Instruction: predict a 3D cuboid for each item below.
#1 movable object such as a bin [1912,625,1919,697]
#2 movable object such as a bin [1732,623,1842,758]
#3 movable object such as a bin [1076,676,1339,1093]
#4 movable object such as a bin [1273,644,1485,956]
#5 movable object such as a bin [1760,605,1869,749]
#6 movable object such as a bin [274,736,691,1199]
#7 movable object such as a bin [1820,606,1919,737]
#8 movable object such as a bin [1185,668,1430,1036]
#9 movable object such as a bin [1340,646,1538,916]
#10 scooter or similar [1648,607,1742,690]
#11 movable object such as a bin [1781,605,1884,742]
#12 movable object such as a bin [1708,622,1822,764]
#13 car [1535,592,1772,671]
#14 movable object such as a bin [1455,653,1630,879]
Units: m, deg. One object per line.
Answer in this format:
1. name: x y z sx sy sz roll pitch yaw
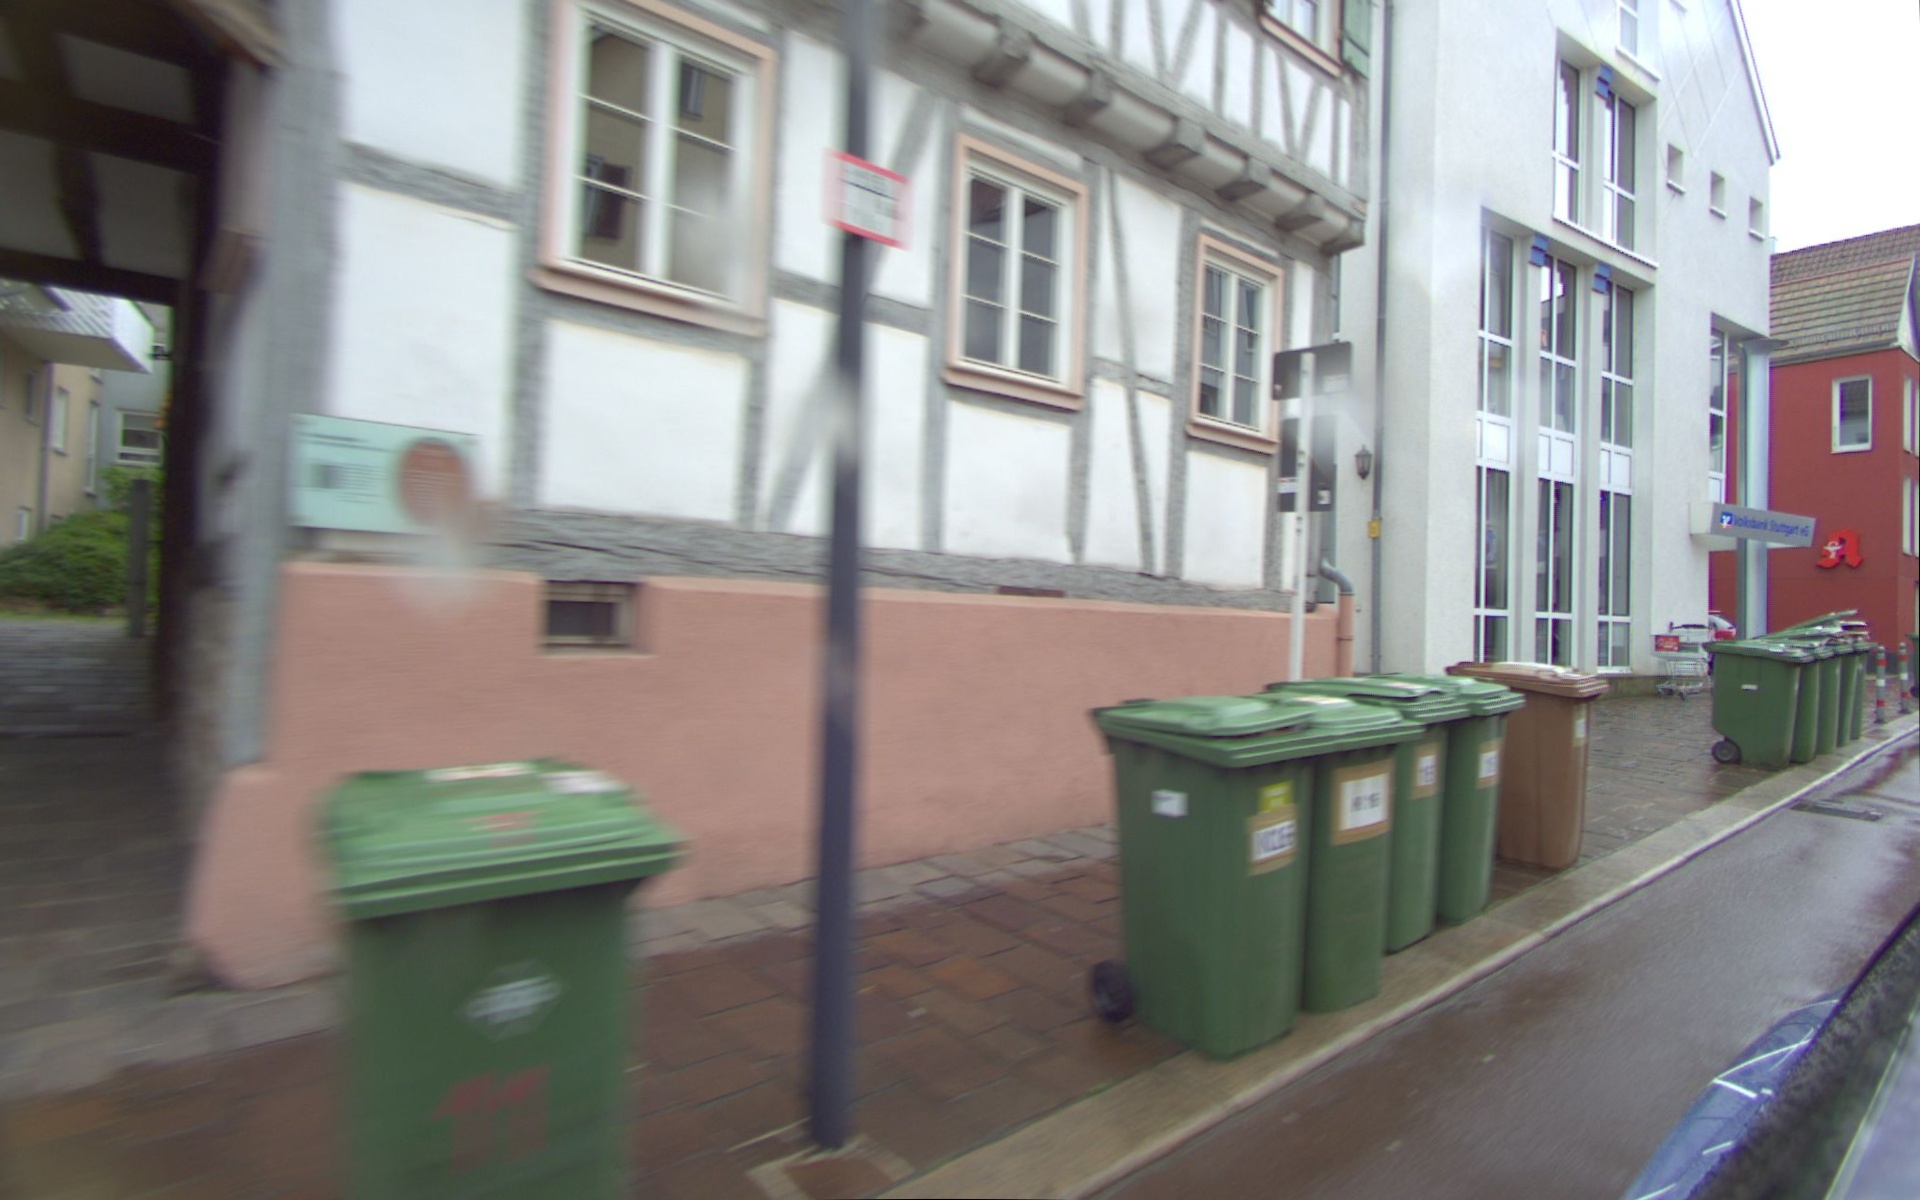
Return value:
1. movable object such as a bin: 16.117 0.993 16.480 0.847 1.145 0.805 0 0 -41
2. movable object such as a bin: 7.535 0.797 9.225 0.620 1.146 0.618 0 0 -35
3. movable object such as a bin: 0.822 0.872 3.417 0.569 1.161 0.640 0 0 -35
4. movable object such as a bin: 1.805 0.793 4.365 0.621 1.161 0.639 0 0 -42
5. movable object such as a bin: 8.123 0.701 9.626 0.620 1.306 0.640 0 0 -35
6. movable object such as a bin: -0.920 0.890 1.929 0.589 1.142 0.610 0 0 -40
7. movable object such as a bin: 9.521 0.718 10.602 0.620 1.306 0.640 0 0 -35
8. movable object such as a bin: 1.294 0.866 3.805 0.592 1.161 0.640 0 0 -35
9. movable object such as a bin: 2.260 0.797 4.788 0.578 1.095 0.670 -1 1 -42
10. scooter or similar: 10.915 0.691 15.023 1.418 1.160 0.667 0 0 -33
11. movable object such as a bin: 8.717 0.702 10.112 0.620 1.306 0.640 0 0 -35
12. movable object such as a bin: 7.014 0.780 8.821 0.620 1.146 0.618 0 0 -34
13. car: 15.624 0.666 23.023 1.873 1.533 4.005 3 0 -29
14. movable object such as a bin: 3.236 0.870 5.627 0.639 1.110 0.678 0 -1 -43
